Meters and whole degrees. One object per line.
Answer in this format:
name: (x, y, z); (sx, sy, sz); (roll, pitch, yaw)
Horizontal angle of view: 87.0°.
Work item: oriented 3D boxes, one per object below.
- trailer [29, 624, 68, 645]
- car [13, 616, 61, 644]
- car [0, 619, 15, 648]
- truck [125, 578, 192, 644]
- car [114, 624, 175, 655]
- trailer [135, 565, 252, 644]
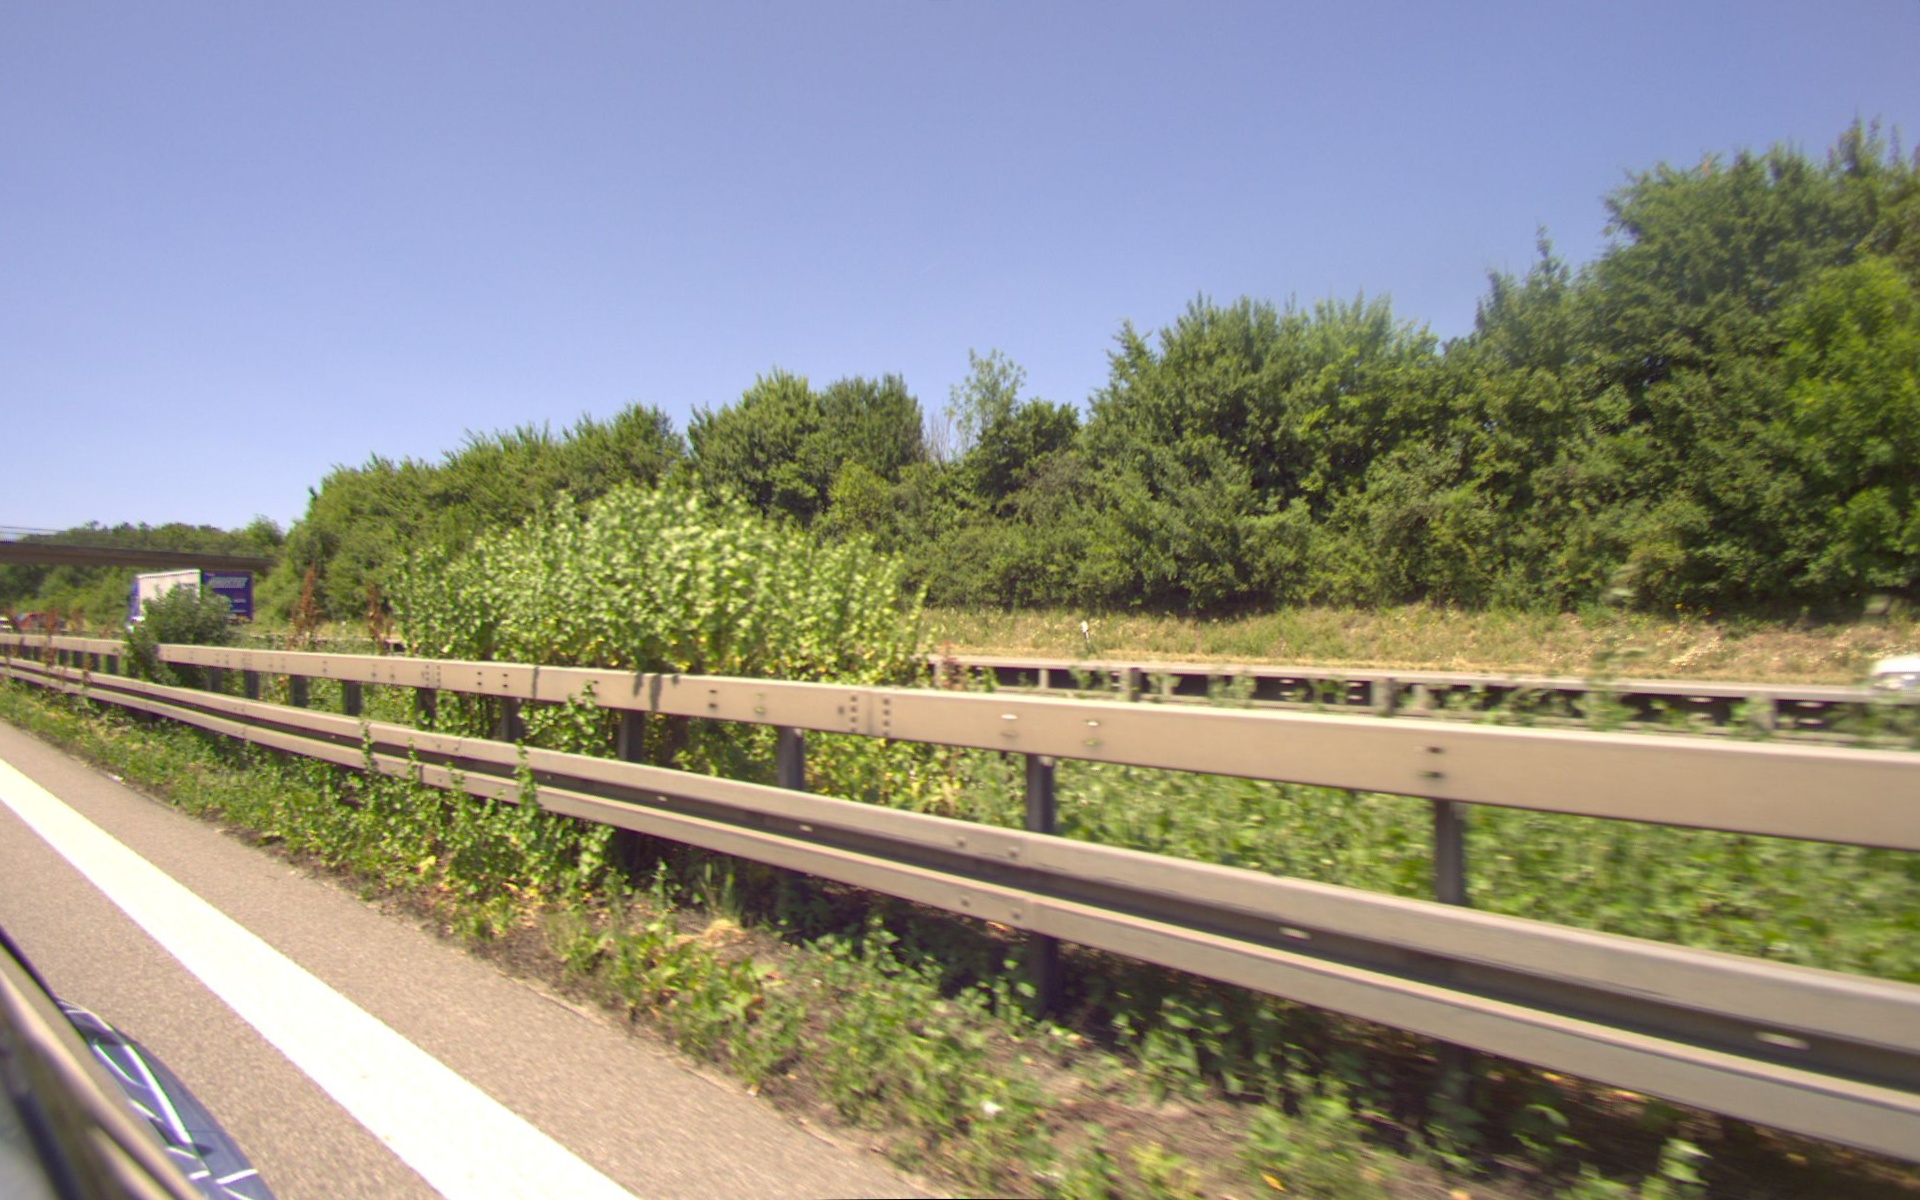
trailer: (-62.906, 2.358, 69.836); (3.256, 1.331, 1.577); (-1, 0, 41)
car: (-66.420, 2.168, 72.767); (5.821, 1.895, 1.841); (-1, 0, 41)
car: (-56.003, 1.972, 58.319); (4.385, 1.566, 1.660); (-3, -1, 38)
truck: (-53.278, 0.773, 67.229); (5.080, 4.150, 2.467); (-3, -1, 40)
car: (-41.192, 1.971, 51.097); (4.353, 1.474, 1.565); (-2, -1, 40)
trailer: (-47.510, 0.439, 62.404); (14.664, 4.286, 2.607); (-3, -1, 40)
